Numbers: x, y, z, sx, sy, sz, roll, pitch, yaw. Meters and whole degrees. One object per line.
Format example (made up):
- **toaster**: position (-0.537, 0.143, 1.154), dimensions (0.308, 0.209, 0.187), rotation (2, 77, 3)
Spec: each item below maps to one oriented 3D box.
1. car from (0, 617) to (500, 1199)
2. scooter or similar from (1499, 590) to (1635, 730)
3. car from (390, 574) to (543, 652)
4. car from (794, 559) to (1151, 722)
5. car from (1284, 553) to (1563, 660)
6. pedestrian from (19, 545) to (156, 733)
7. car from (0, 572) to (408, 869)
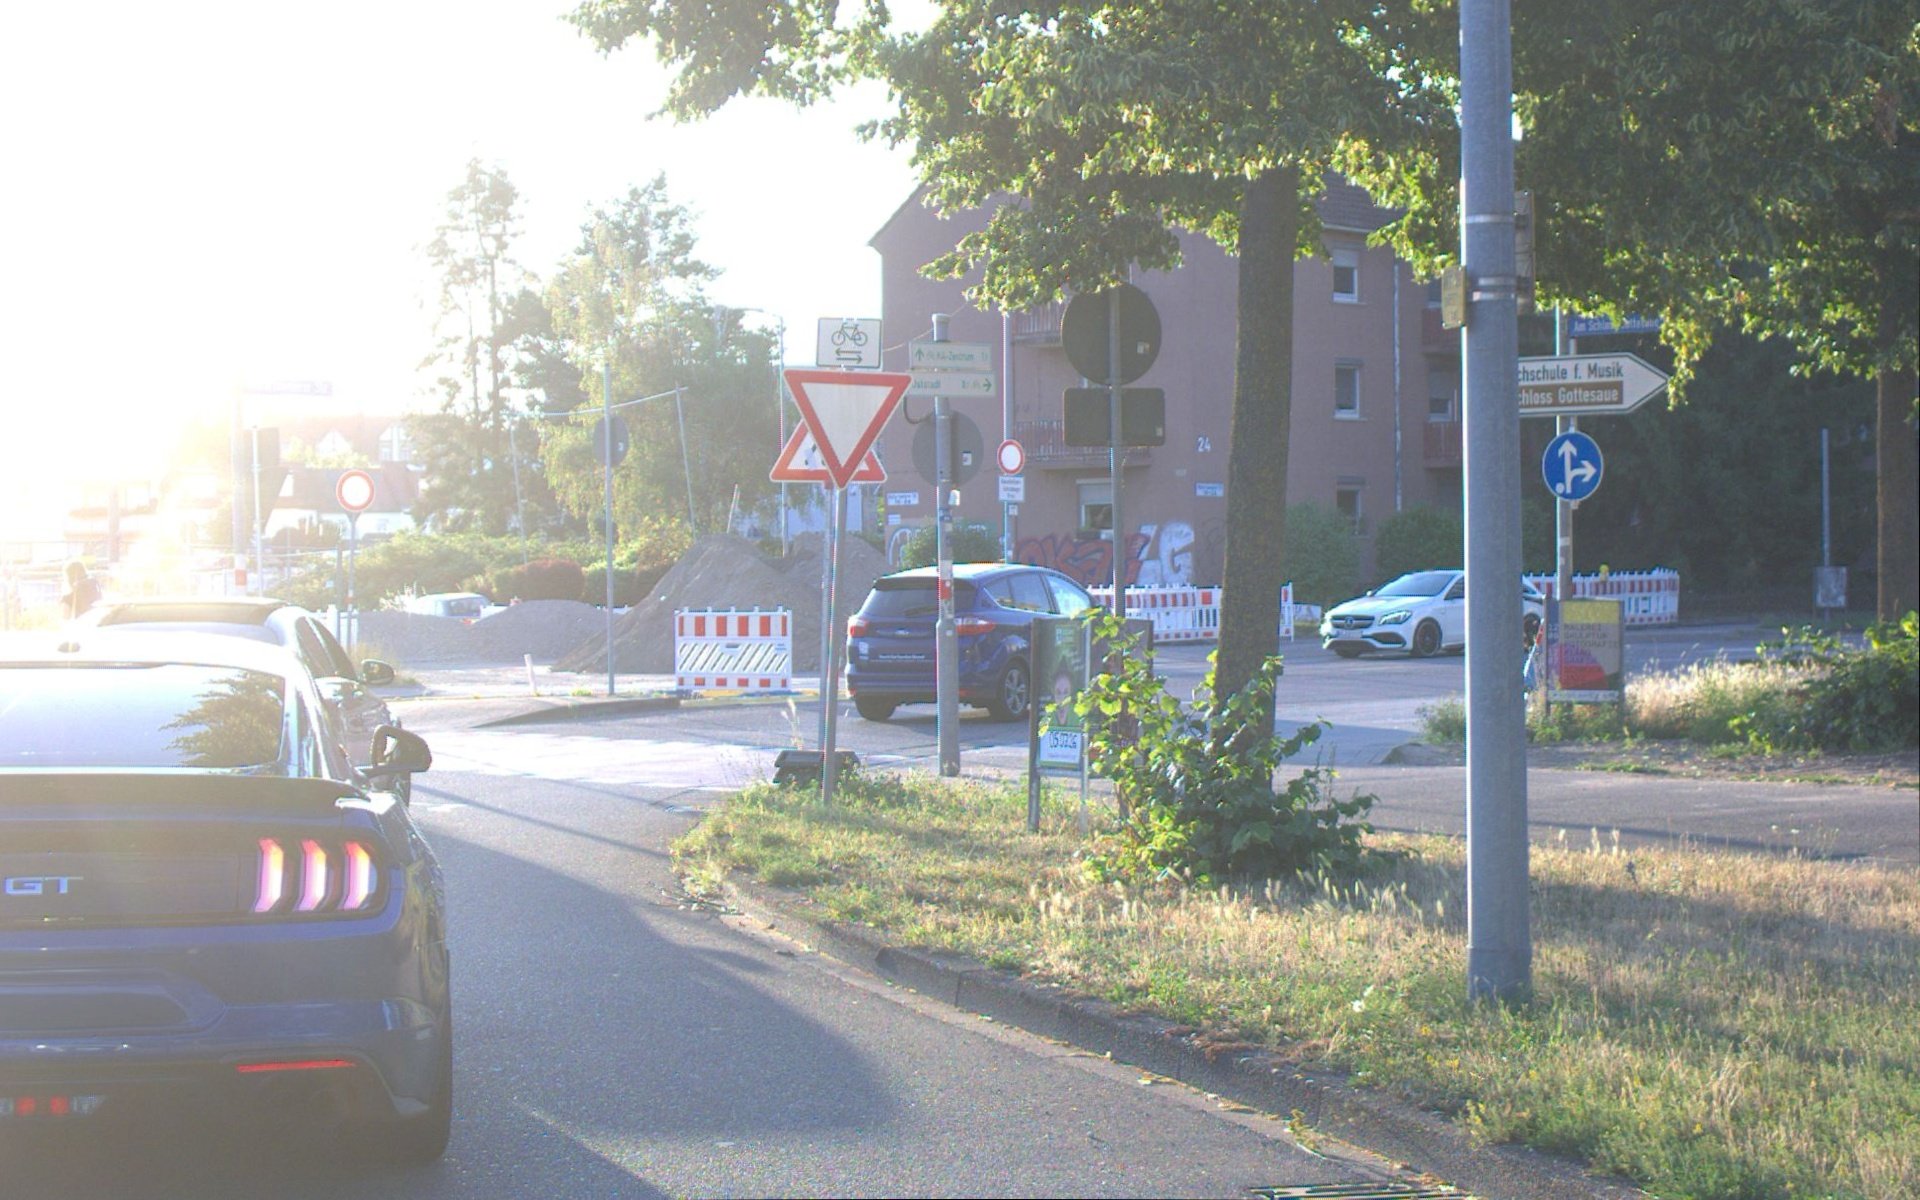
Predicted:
- **car**: position (-2.587, 0.749, 9.577), dimensions (1.950, 1.337, 4.672), rotation (0, 0, -16)
- **scooter or similar**: position (5.484, 0.537, 31.071), dimensions (1.120, 1.234, 0.442), rotation (0, 1, -10)
- **car**: position (-11.189, 0.276, 77.720), dimensions (1.993, 1.700, 4.000), rotation (-1, 1, -31)
- **car**: position (0.195, 0.384, 36.143), dimensions (1.954, 1.597, 4.070), rotation (0, 1, 31)
- **car**: position (7.654, 0.076, 56.533), dimensions (4.644, 1.448, 2.074), rotation (-3, 5, -43)
- **pedestrian**: position (-7.985, 0.347, 31.461), dimensions (0.886, 1.680, 0.844), rotation (0, 1, 40)
- **car**: position (-4.147, 0.633, 19.255), dimensions (1.951, 1.422, 4.430), rotation (2, -1, -8)
